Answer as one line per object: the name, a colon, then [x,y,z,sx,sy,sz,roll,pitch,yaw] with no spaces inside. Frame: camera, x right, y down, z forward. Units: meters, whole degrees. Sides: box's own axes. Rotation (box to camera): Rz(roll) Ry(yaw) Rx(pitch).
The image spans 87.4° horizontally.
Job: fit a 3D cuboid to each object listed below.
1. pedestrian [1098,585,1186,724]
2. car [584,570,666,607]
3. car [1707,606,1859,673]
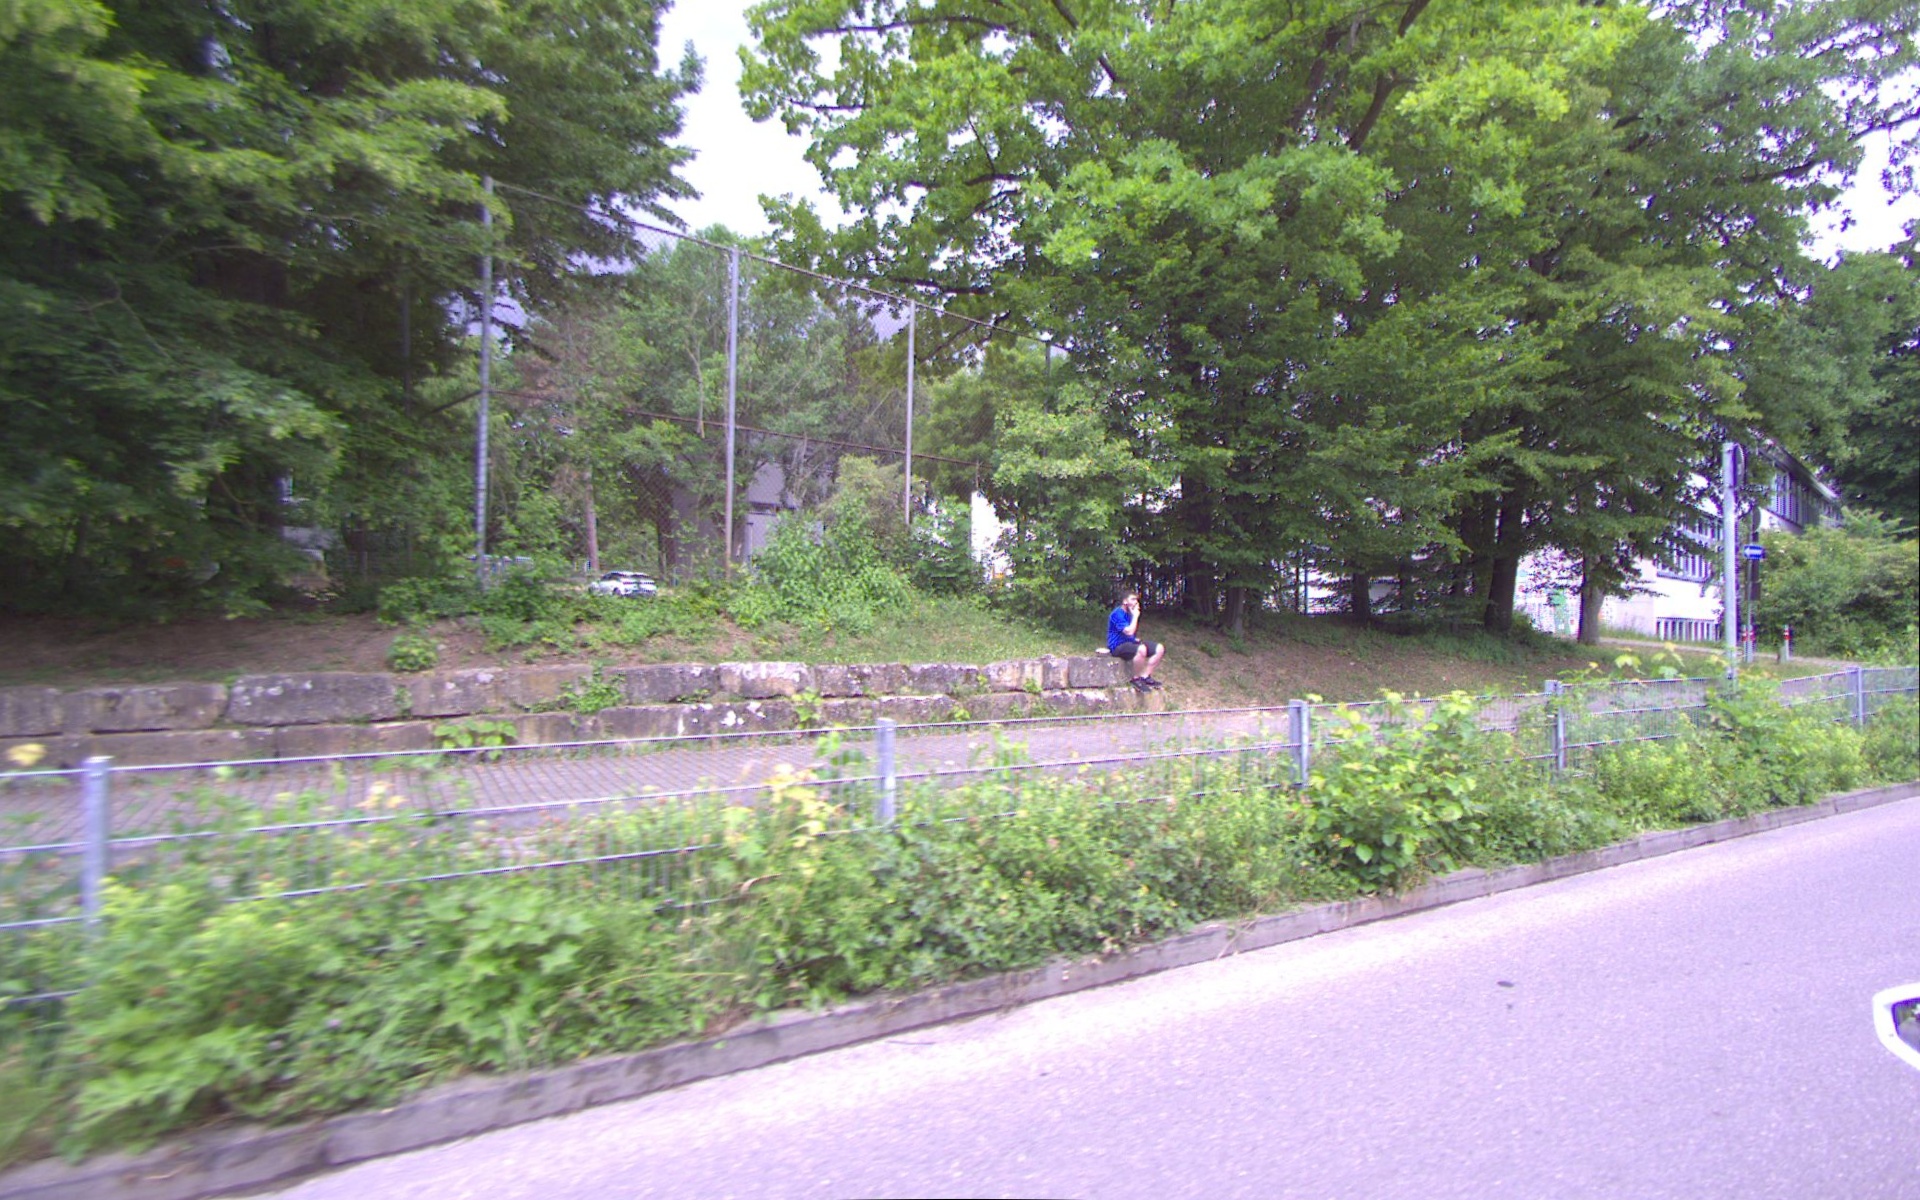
pedestrian: [2.302,0.669,12.741,0.800,1.684,0.755,0,-1,-32]
car: [-16.576,-0.533,49.592,4.385,1.717,1.964,-1,-1,42]
car: [26.366,1.219,32.219,3.937,2.040,1.992,0,-1,-19]
